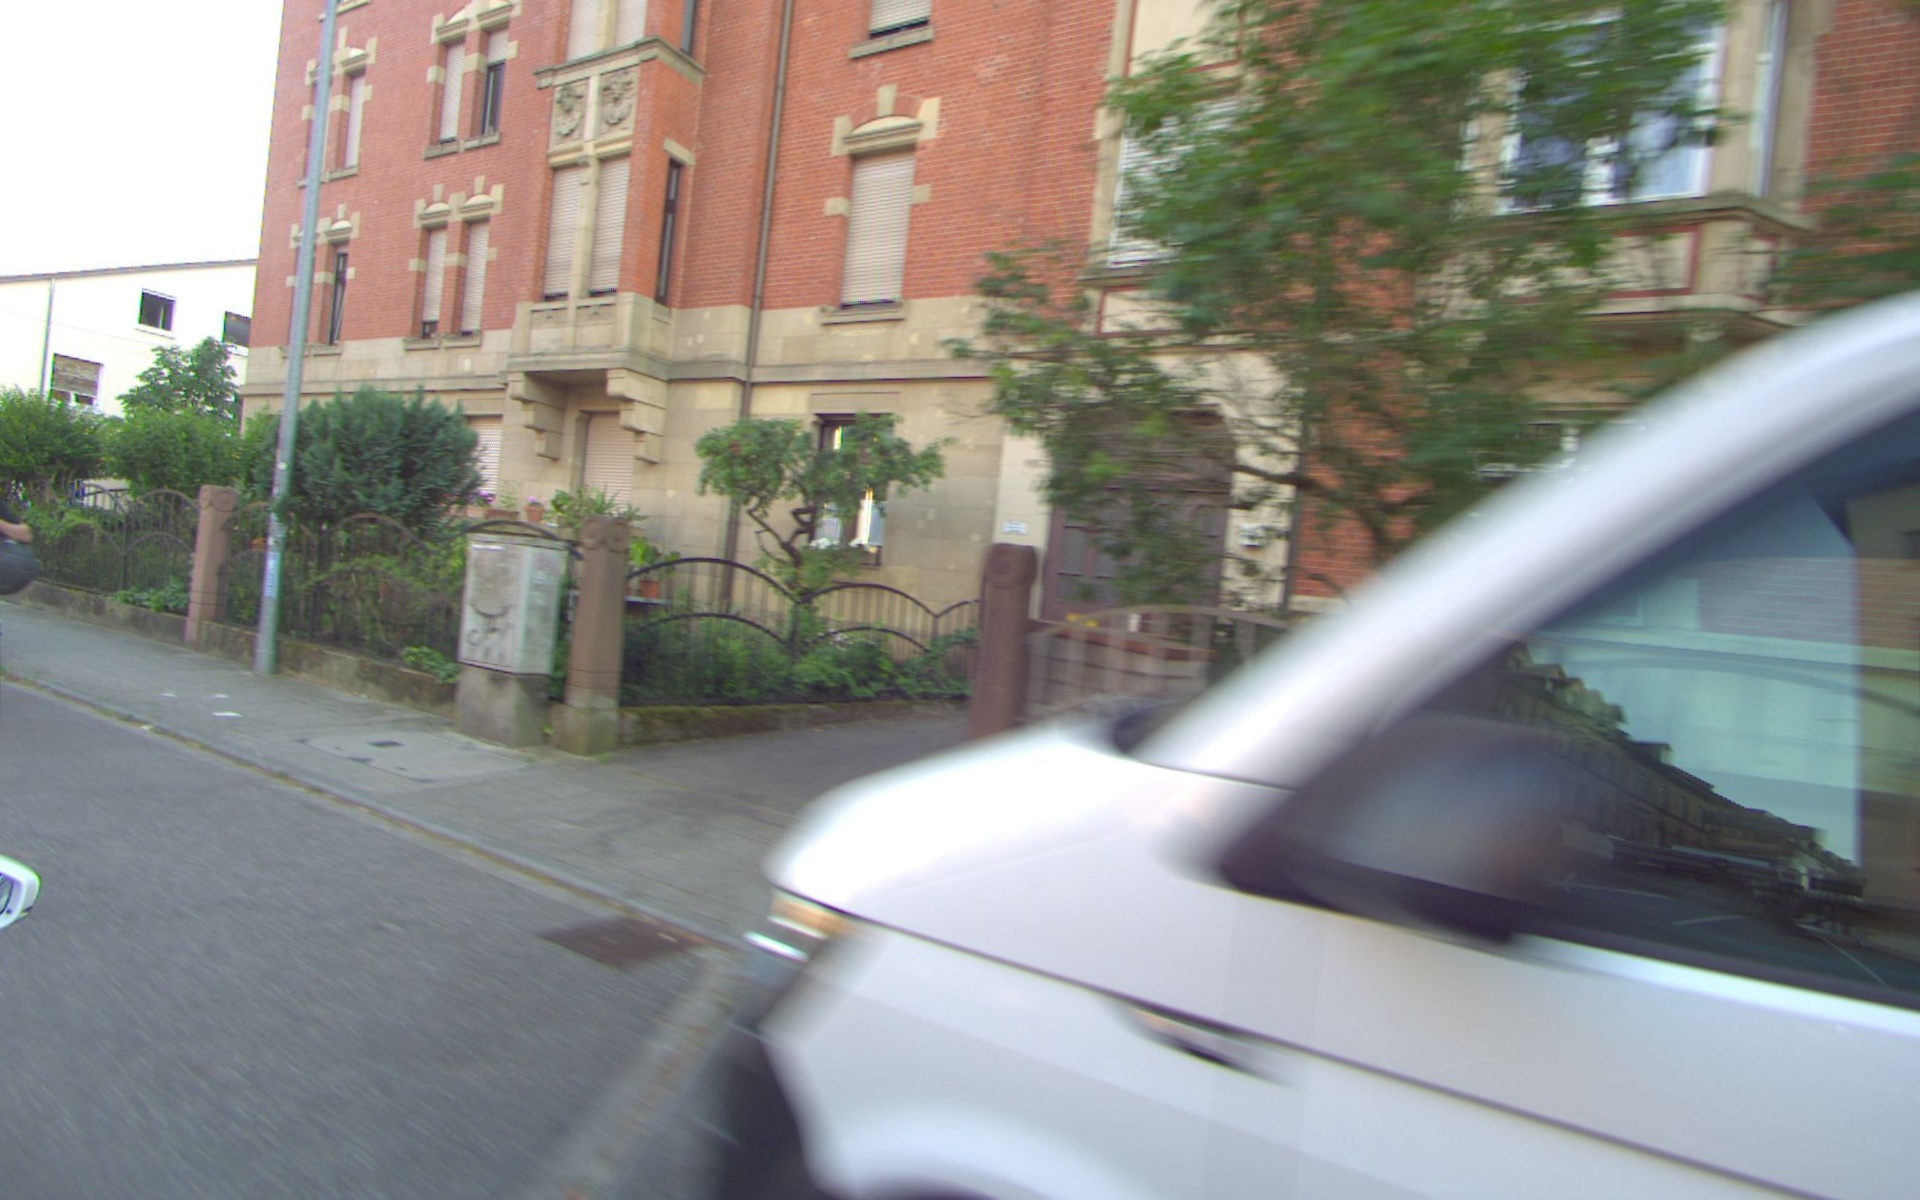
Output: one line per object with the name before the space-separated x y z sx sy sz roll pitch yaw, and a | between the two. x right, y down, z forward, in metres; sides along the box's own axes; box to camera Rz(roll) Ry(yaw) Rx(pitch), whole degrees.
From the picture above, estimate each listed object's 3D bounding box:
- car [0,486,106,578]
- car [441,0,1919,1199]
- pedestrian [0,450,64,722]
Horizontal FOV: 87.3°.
car | -17.504 -1.345 18.227 4.349 1.442 1.728 6 1 30
car | 2.032 0.689 0.991 5.451 2.065 1.863 6 1 30
pedestrian | -6.697 -0.146 6.612 0.944 1.742 0.888 6 -1 38
